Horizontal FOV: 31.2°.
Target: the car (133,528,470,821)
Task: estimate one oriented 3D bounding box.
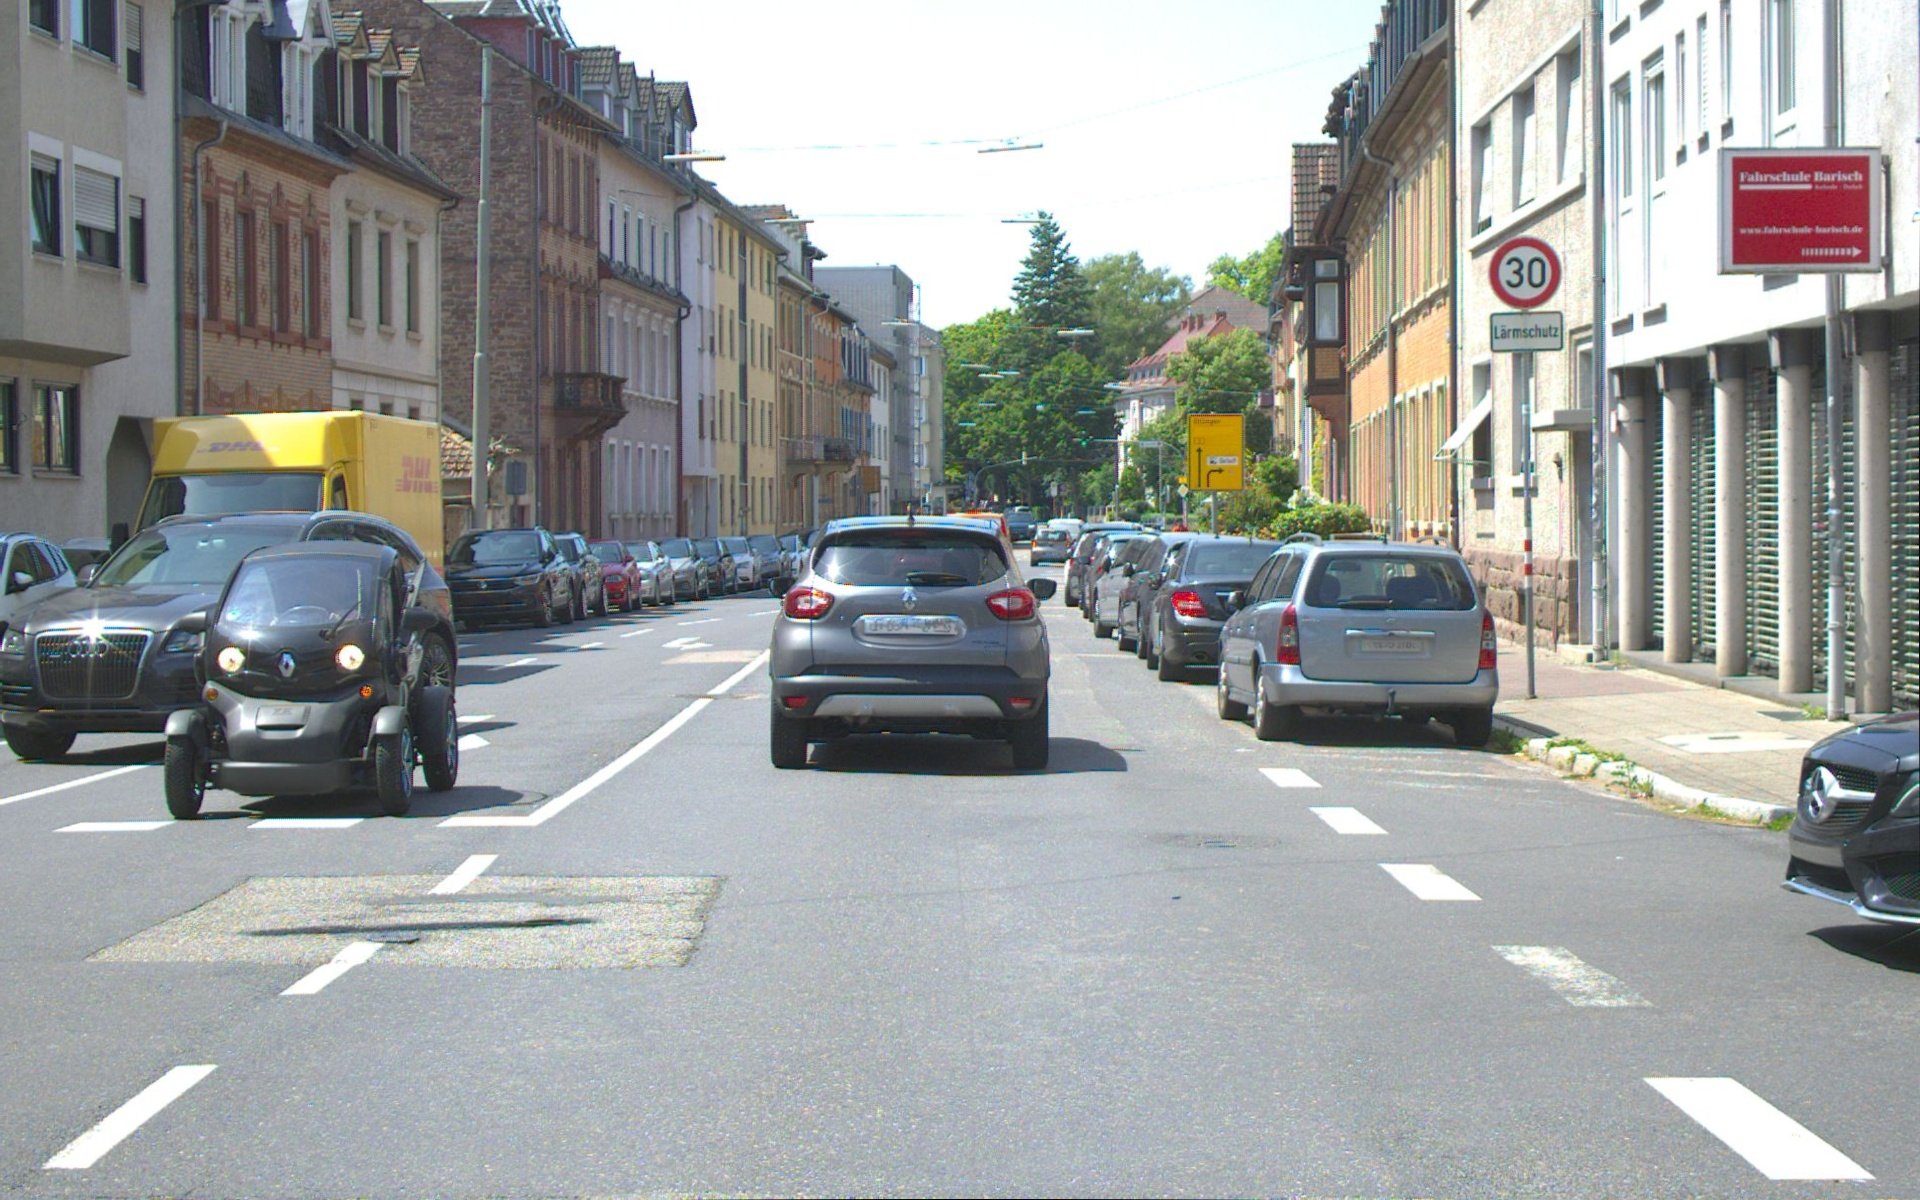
[{"bbox_3d":[-3.490,0.342,18.587,1.496,1.454,2.723,0,1,-5],"label":"car"}]

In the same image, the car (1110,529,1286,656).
[{"bbox_3d":[2.763,-0.129,40.707,1.651,1.415,4.049,0,1,-2],"label":"car"}]

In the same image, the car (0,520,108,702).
[{"bbox_3d":[-9.412,0.045,32.010,1.839,1.590,4.387,2,1,0],"label":"car"}]

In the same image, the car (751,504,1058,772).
[{"bbox_3d":[-0.452,0.182,22.740,1.743,1.611,4.001,0,1,-5],"label":"car"}]

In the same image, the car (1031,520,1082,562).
[{"bbox_3d":[3.713,-2.256,131.283,1.763,1.554,3.942,0,1,4],"label":"car"}]

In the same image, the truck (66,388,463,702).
[{"bbox_3d":[-6.810,-0.573,34.750,2.225,2.761,7.564,-2,1,1],"label":"truck"}]

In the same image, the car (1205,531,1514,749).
[{"bbox_3d":[2.902,0.237,25.750,1.677,1.449,4.143,1,1,-2],"label":"car"}]

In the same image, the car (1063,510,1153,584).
[{"bbox_3d":[3.437,-1.242,79.779,1.994,1.656,4.625,-1,1,3],"label":"car"}]

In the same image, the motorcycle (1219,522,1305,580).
[{"bbox_3d":[7.786,-1.271,88.668,2.129,1.403,0.937,-2,1,2],"label":"motorcycle"}]

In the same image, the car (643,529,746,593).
[{"bbox_3d":[-6.500,-0.978,84.582,1.840,1.417,4.502,-4,1,4],"label":"car"}]

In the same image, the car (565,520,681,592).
[{"bbox_3d":[-7.105,-0.934,72.862,1.840,1.417,4.502,-2,1,2],"label":"car"}]

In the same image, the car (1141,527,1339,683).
[{"bbox_3d":[2.785,0.002,34.938,1.711,1.468,4.438,0,1,1],"label":"car"}]

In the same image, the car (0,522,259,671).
[{"bbox_3d":[-9.201,-0.074,38.181,1.840,1.483,4.386,2,1,1],"label":"car"}]

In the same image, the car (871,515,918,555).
[{"bbox_3d":[-2.780,-2.763,146.554,1.904,1.614,4.303,-2,1,-1],"label":"car"}]

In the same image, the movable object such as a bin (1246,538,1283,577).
[{"bbox_3d":[7.042,-0.983,79.544,0.788,0.904,0.539,-1,1,0],"label":"movable object such as a bin"}]

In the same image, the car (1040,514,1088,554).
[{"bbox_3d":[4.214,-2.667,138.368,1.763,1.554,3.942,0,1,4],"label":"car"}]

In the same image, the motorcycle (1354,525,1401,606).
[{"bbox_3d":[6.424,-0.536,52.887,0.596,1.220,1.361,0,1,2],"label":"motorcycle"}]

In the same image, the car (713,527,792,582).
[{"bbox_3d":[-5.756,-1.277,95.746,1.840,1.417,4.646,-2,1,1],"label":"car"}]

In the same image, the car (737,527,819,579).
[{"bbox_3d":[-5.347,-1.389,101.514,1.840,1.417,4.557,-3,1,4],"label":"car"}]

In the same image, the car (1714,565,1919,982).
[{"bbox_3d":[5.274,0.583,12.497,4.580,1.360,2.000,0,1,-2],"label":"car"}]

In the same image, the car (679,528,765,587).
[{"bbox_3d":[-6.198,-1.117,89.828,1.840,1.417,4.502,-2,1,1],"label":"car"}]

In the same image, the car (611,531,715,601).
[{"bbox_3d":[-6.769,-0.795,78.721,1.840,1.417,4.502,-4,1,1],"label":"car"}]

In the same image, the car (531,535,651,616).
[{"bbox_3d":[-7.070,-0.501,66.314,1.839,1.417,4.503,-3,1,-1],"label":"car"}]

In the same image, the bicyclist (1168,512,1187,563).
[{"bbox_3d":[6.243,-1.792,98.773,0.532,1.464,0.791,-1,1,3],"label":"bicyclist"}]

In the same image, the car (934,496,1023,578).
[{"bbox_3d":[0.506,-1.607,87.271,1.994,2.007,4.466,-1,1,3],"label":"car"}]

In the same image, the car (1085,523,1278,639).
[{"bbox_3d":[2.896,-0.277,45.883,1.853,1.458,4.551,1,1,-5],"label":"car"}]

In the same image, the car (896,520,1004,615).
[{"bbox_3d":[-0.153,-0.609,62.489,1.812,1.615,4.441,-1,1,1],"label":"car"}]

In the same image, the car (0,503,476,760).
[{"bbox_3d":[-5.089,0.165,24.243,1.813,1.615,4.439,-1,1,13],"label":"car"}]

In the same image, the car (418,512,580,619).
[{"bbox_3d":[-7.430,-0.569,55.782,1.840,1.591,4.502,-2,1,2],"label":"car"}]

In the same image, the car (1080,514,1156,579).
[{"bbox_3d":[4.429,-1.534,96.929,1.860,1.742,4.618,2,1,0],"label":"car"}]
